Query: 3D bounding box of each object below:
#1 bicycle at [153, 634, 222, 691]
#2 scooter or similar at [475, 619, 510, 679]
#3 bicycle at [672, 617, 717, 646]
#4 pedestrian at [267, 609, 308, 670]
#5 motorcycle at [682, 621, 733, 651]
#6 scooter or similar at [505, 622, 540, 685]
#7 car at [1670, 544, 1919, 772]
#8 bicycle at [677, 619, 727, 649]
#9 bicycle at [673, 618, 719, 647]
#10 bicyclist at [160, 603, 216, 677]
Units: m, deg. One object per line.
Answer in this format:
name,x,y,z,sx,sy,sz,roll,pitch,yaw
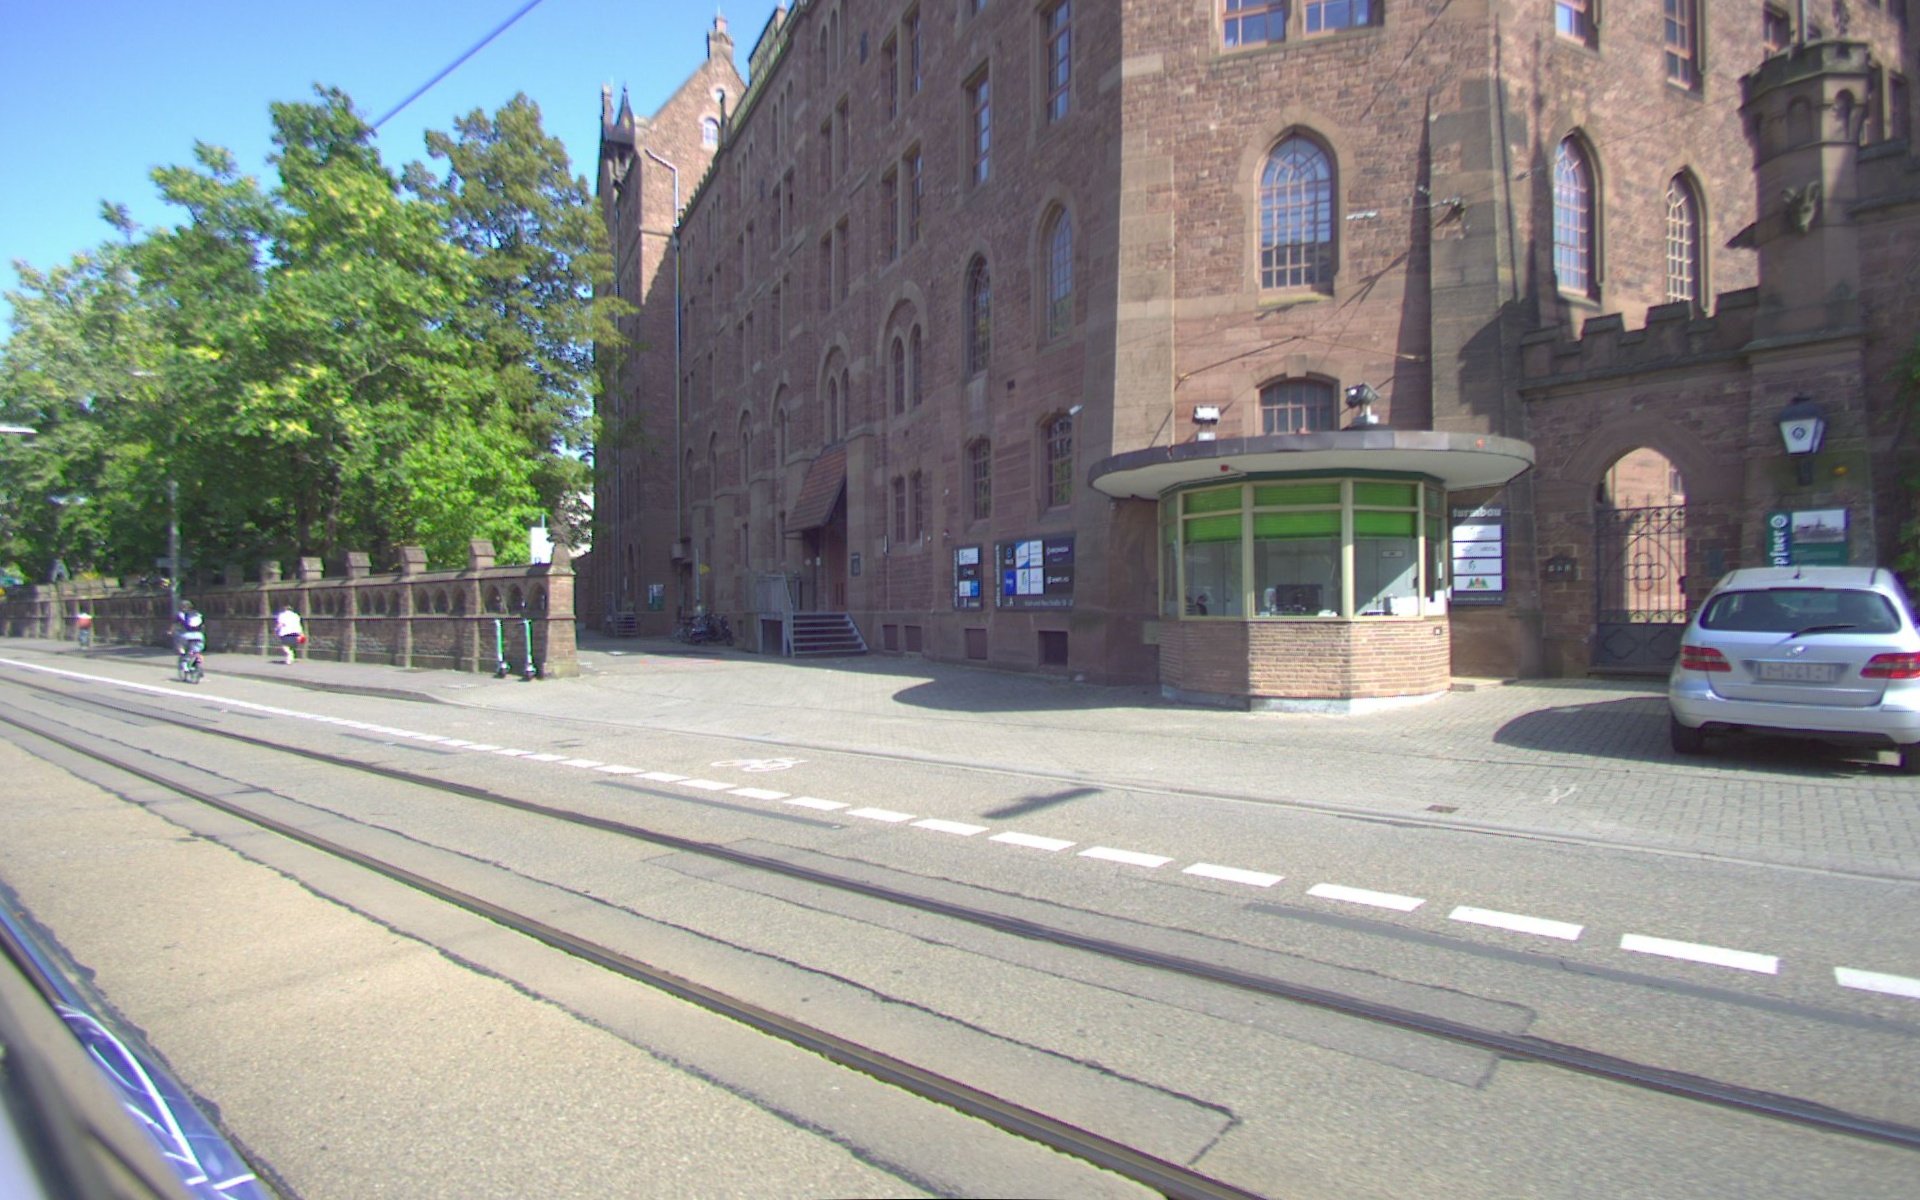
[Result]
bicycle,-17.040,1.351,22.315,2.035,1.167,0.690,0,-2,38
scooter or similar,-9.507,0.994,20.608,0.280,1.157,0.816,0,2,3
bicycle,-10.121,1.201,38.570,1.636,1.054,0.567,0,0,-15
pedestrian,-17.902,1.032,26.940,0.774,1.601,0.708,-1,0,39
motorcycle,-8.972,1.276,35.906,1.669,1.009,0.584,0,0,-27
scooter or similar,-8.552,1.039,19.804,0.280,1.157,0.816,0,2,3
car,7.990,0.366,9.415,1.822,1.607,3.859,-1,3,42
bicycle,-9.405,1.237,36.831,1.747,1.054,0.666,0,0,-15
bicycle,-9.859,1.197,37.793,1.636,1.054,0.567,0,0,-15
bicyclist,-17.078,0.878,22.381,1.085,1.592,0.690,-1,-2,37
